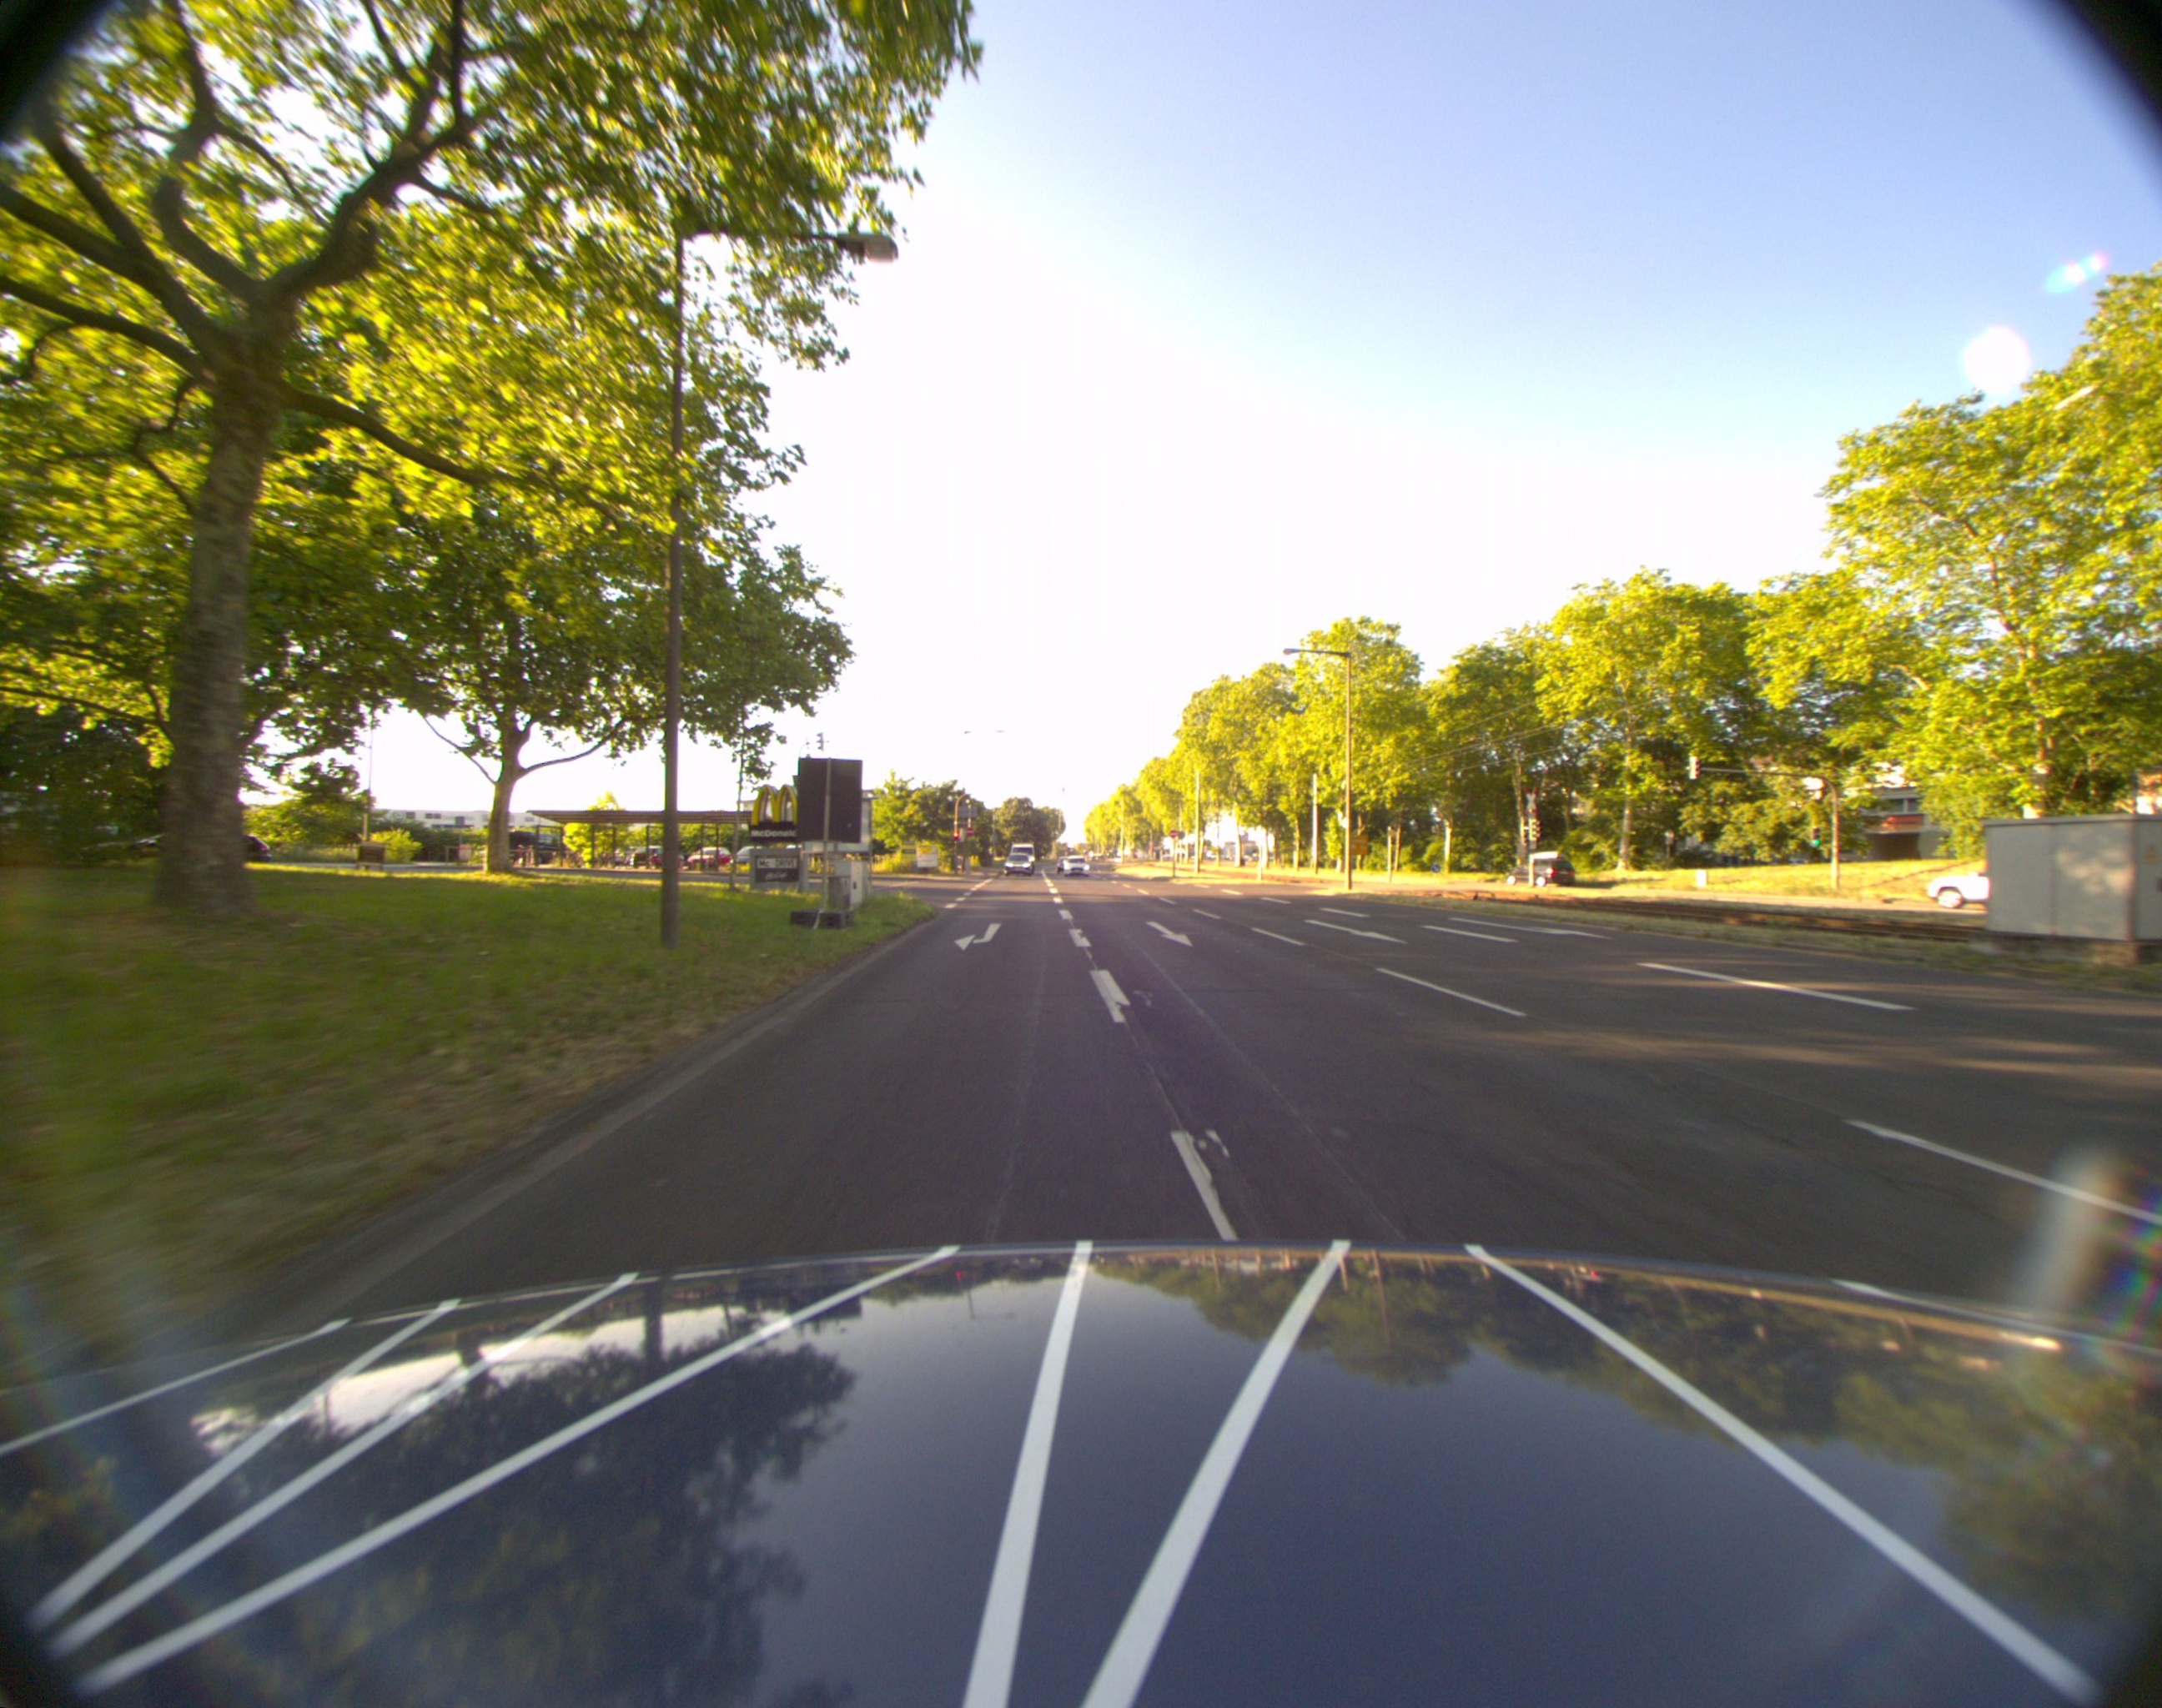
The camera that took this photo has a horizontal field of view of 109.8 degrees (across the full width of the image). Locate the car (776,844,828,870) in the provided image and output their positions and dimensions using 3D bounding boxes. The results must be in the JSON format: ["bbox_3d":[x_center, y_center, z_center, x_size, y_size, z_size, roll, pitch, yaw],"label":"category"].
[{"bbox_3d":[-18.578,0.218,50.769,2.120,1.638,4.226,2,-1,-4],"label":"car"}]

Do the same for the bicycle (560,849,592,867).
[{"bbox_3d":[-28.980,0.232,43.633,0.543,1.032,1.894,1,0,1],"label":"bicycle"}]

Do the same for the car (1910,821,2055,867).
[{"bbox_3d":[52.254,-0.508,44.261,1.805,2.498,5.629,2,-1,2],"label":"car"}]

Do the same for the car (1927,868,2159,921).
[{"bbox_3d":[30.408,1.228,24.261,1.999,1.432,4.190,1,0,-2],"label":"car"}]

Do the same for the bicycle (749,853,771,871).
[{"bbox_3d":[-18.580,0.469,44.026,0.544,1.032,1.893,1,0,-2],"label":"bicycle"}]

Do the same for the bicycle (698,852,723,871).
[{"bbox_3d":[-21.326,0.438,43.763,0.544,1.032,1.893,1,0,-2],"label":"bicycle"}]

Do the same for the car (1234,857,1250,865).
[{"bbox_3d":[27.672,1.202,130.813,1.629,1.433,3.984,2,-1,-3],"label":"car"}]

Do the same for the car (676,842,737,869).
[{"bbox_3d":[-24.411,0.141,49.726,2.120,1.638,4.319,2,-1,-4],"label":"car"}]

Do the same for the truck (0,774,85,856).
[{"bbox_3d":[-56.777,-1.994,37.405,11.091,3.853,3.195,2,0,-1],"label":"truck"}]

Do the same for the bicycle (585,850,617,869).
[{"bbox_3d":[-27.504,0.296,43.557,0.543,1.032,1.894,1,0,1],"label":"bicycle"}]

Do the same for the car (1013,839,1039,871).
[{"bbox_3d":[-4.650,0.090,64.814,2.009,2.551,5.875,1,0,-3],"label":"car"}]

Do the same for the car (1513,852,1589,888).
[{"bbox_3d":[28.967,0.965,47.000,1.999,2.054,4.190,1,0,-2],"label":"car"}]

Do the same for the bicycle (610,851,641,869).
[{"bbox_3d":[-26.185,0.331,43.714,0.543,1.032,1.894,1,0,1],"label":"bicycle"}]

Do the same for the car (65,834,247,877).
[{"bbox_3d":[-35.540,0.088,29.312,1.825,1.546,4.268,1,-1,33],"label":"car"}]

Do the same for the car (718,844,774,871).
[{"bbox_3d":[-21.853,0.217,49.707,2.120,1.638,3.999,2,-1,-4],"label":"car"}]

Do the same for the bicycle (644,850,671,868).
[{"bbox_3d":[-24.401,0.272,43.813,0.544,1.032,1.893,1,0,-2],"label":"bicycle"}]

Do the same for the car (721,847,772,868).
[{"bbox_3d":[-27.920,0.284,63.521,2.117,1.627,4.002,1,-1,6],"label":"car"}]

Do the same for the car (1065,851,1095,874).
[{"bbox_3d":[-0.036,0.641,56.726,1.874,1.608,4.002,1,0,4],"label":"car"}]

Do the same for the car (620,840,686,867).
[{"bbox_3d":[-28.172,-0.001,50.211,2.120,1.638,4.319,2,-1,-4],"label":"car"}]

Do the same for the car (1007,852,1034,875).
[{"bbox_3d":[-4.440,0.668,56.069,1.876,1.608,4.546,1,0,-4],"label":"car"}]
